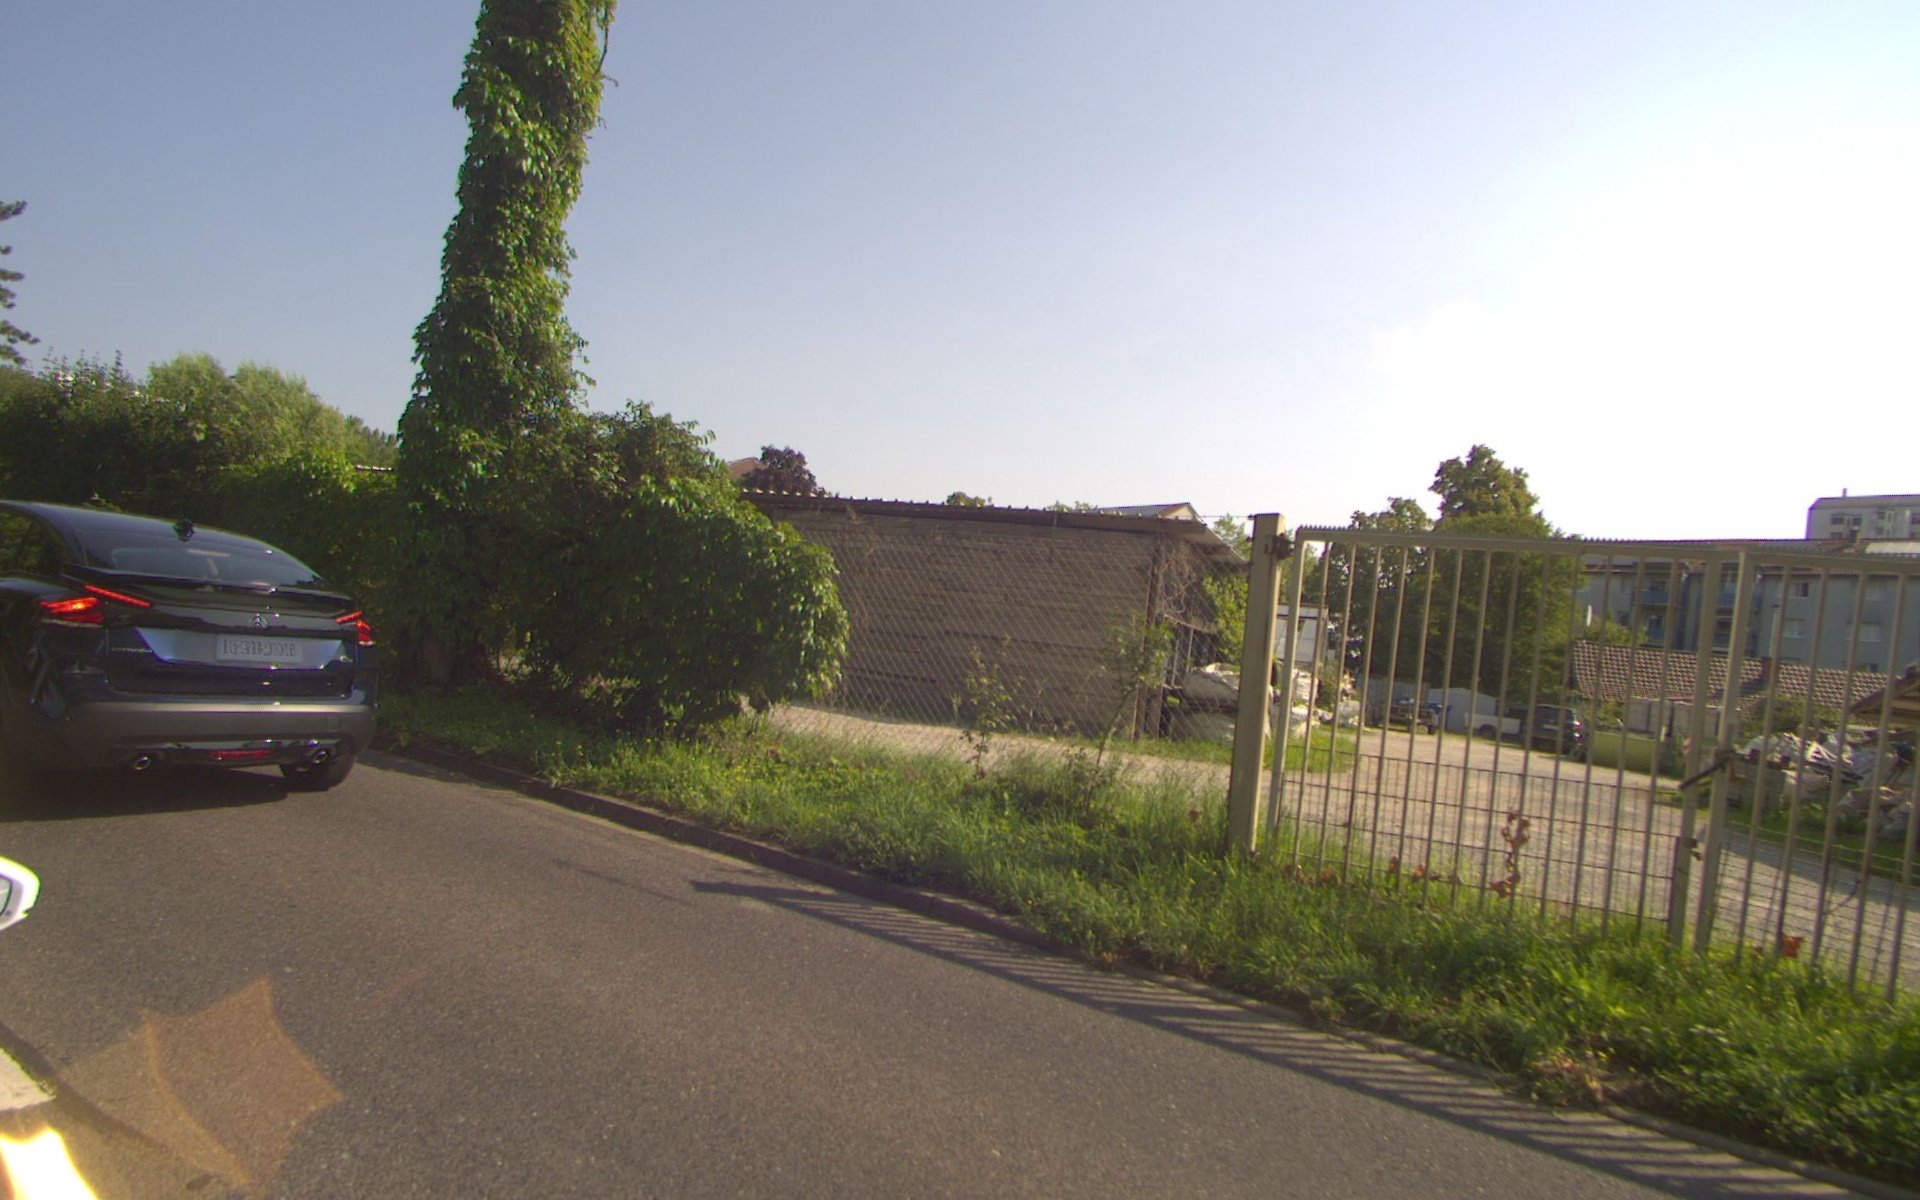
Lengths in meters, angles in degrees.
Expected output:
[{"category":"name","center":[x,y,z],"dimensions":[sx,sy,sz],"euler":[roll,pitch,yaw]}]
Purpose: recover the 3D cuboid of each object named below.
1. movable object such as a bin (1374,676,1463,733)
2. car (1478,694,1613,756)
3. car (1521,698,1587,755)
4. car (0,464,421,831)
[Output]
[{"category":"movable object such as a bin","center":[17.985,4.093,39.478],"dimensions":[2.733,1.841,1.513],"euler":[6,-2,39]},{"category":"car","center":[22.756,4.830,39.151],"dimensions":[4.333,1.688,1.775],"euler":[6,-2,34]},{"category":"car","center":[21.490,4.552,36.331],"dimensions":[1.750,1.688,3.753],"euler":[6,-2,34]},{"category":"car","center":[-5.450,0.107,6.171],"dimensions":[4.182,1.607,1.649],"euler":[6,-2,29]}]
